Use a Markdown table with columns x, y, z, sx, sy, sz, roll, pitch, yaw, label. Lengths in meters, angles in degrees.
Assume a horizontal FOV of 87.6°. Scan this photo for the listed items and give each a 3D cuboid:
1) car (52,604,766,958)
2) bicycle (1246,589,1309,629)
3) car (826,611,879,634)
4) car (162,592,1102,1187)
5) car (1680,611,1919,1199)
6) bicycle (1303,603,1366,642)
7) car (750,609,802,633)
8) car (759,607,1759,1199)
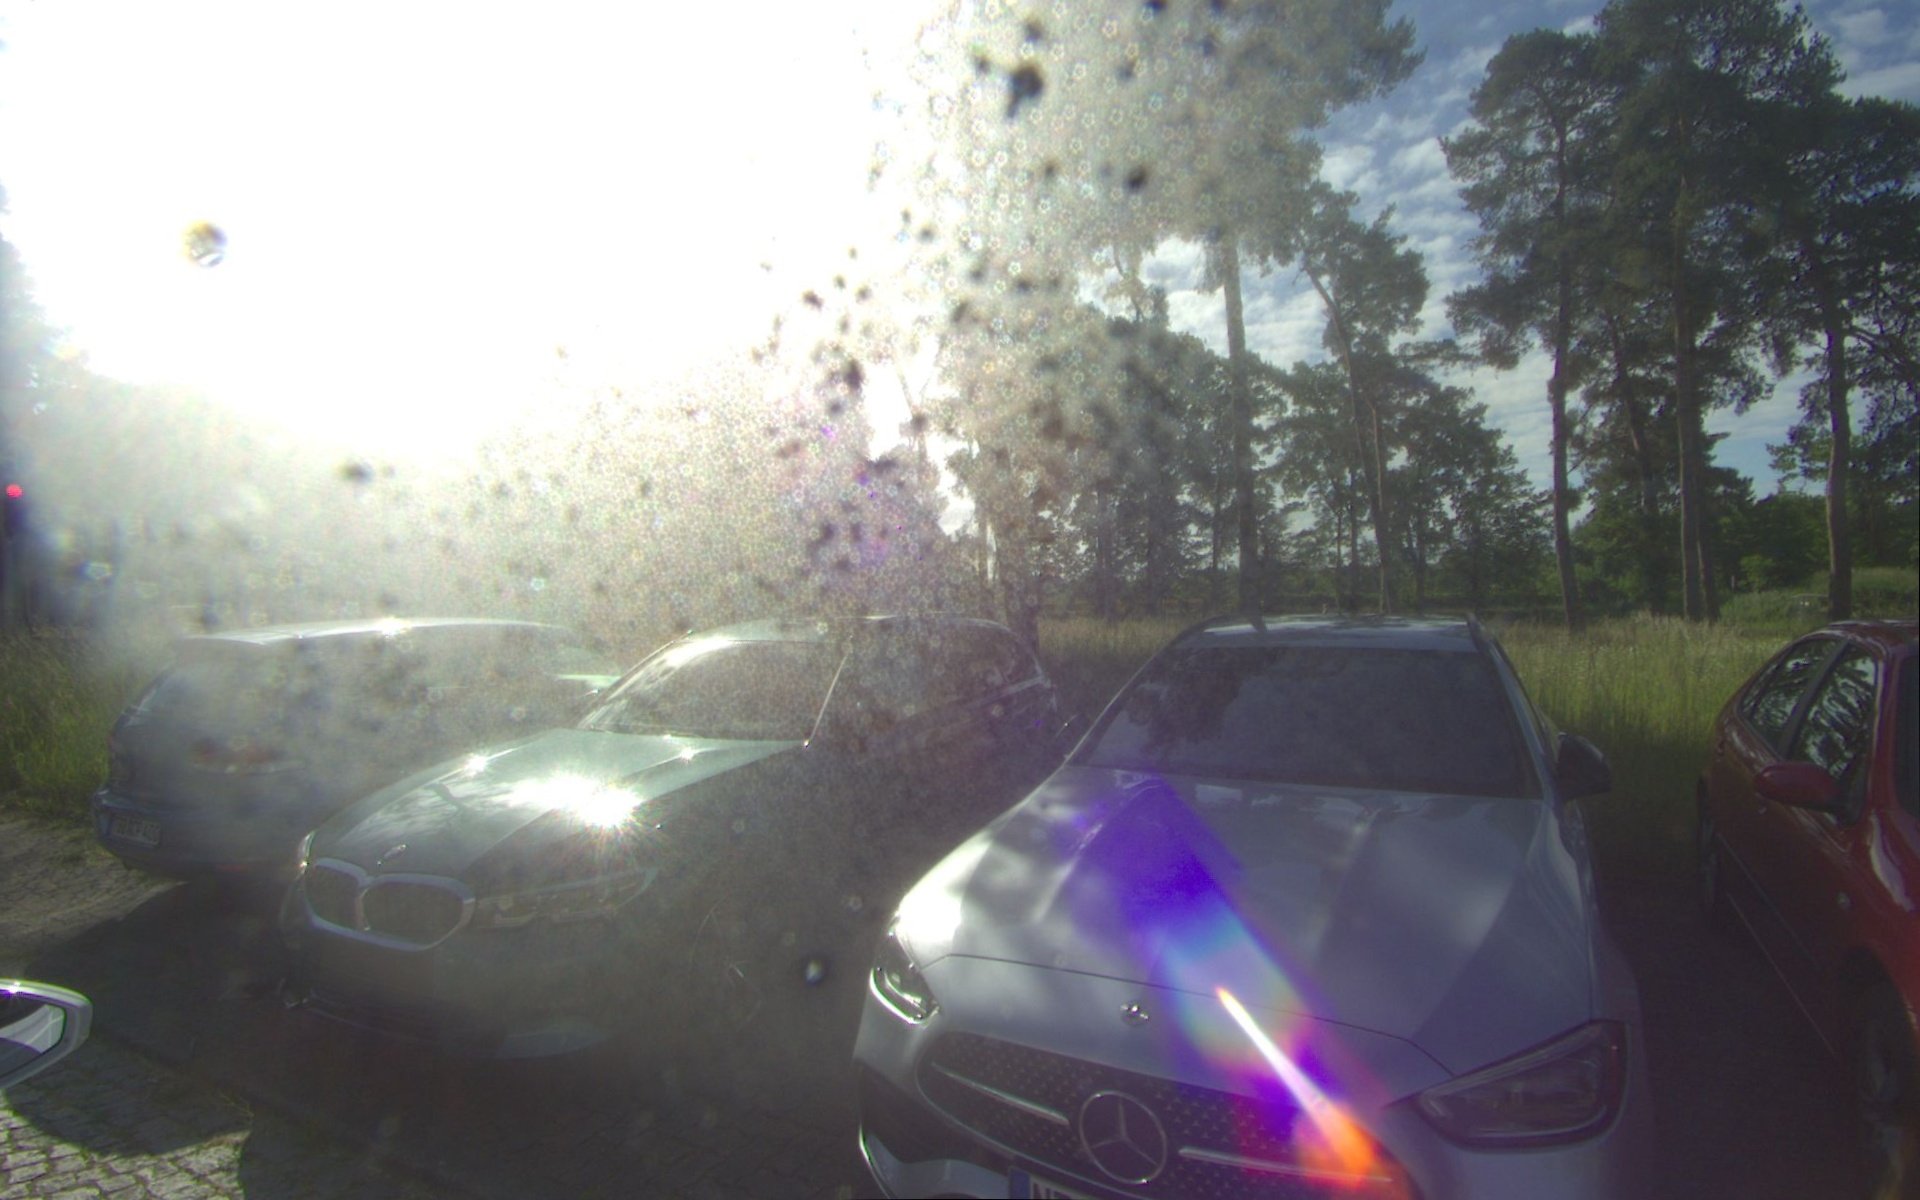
| x | y | z | sx | sy | sz | roll | pitch | yaw | label |
| --- | --- | --- | --- | --- | --- | --- | --- | --- | --- |
| -3.088 | 0.813 | 6.402 | 1.640 | 1.463 | 3.667 | 0 | 1 | 29 | car |
| 17.313 | 0.487 | 54.612 | 3.084 | 2.040 | 0.949 | -2 | -1 | 29 | bicycle |
| -7.358 | 1.522 | 68.813 | 1.741 | 1.517 | 3.629 | 0 | 0 | 32 | car |
| -0.906 | 0.769 | 5.144 | 1.840 | 1.475 | 4.614 | 0 | 2 | 27 | car |
| 3.357 | 0.804 | 2.859 | 1.630 | 1.468 | 3.974 | 0 | 0 | 29 | car |
| 20.719 | 1.267 | 55.408 | 3.084 | 2.040 | 0.949 | -2 | -1 | 29 | bicycle |
| -13.425 | 1.532 | 73.152 | 1.741 | 1.693 | 3.629 | 0 | 0 | 32 | car |
| 1.369 | 0.790 | 3.756 | 1.761 | 1.407 | 4.394 | 0 | 1 | 28 | car |
